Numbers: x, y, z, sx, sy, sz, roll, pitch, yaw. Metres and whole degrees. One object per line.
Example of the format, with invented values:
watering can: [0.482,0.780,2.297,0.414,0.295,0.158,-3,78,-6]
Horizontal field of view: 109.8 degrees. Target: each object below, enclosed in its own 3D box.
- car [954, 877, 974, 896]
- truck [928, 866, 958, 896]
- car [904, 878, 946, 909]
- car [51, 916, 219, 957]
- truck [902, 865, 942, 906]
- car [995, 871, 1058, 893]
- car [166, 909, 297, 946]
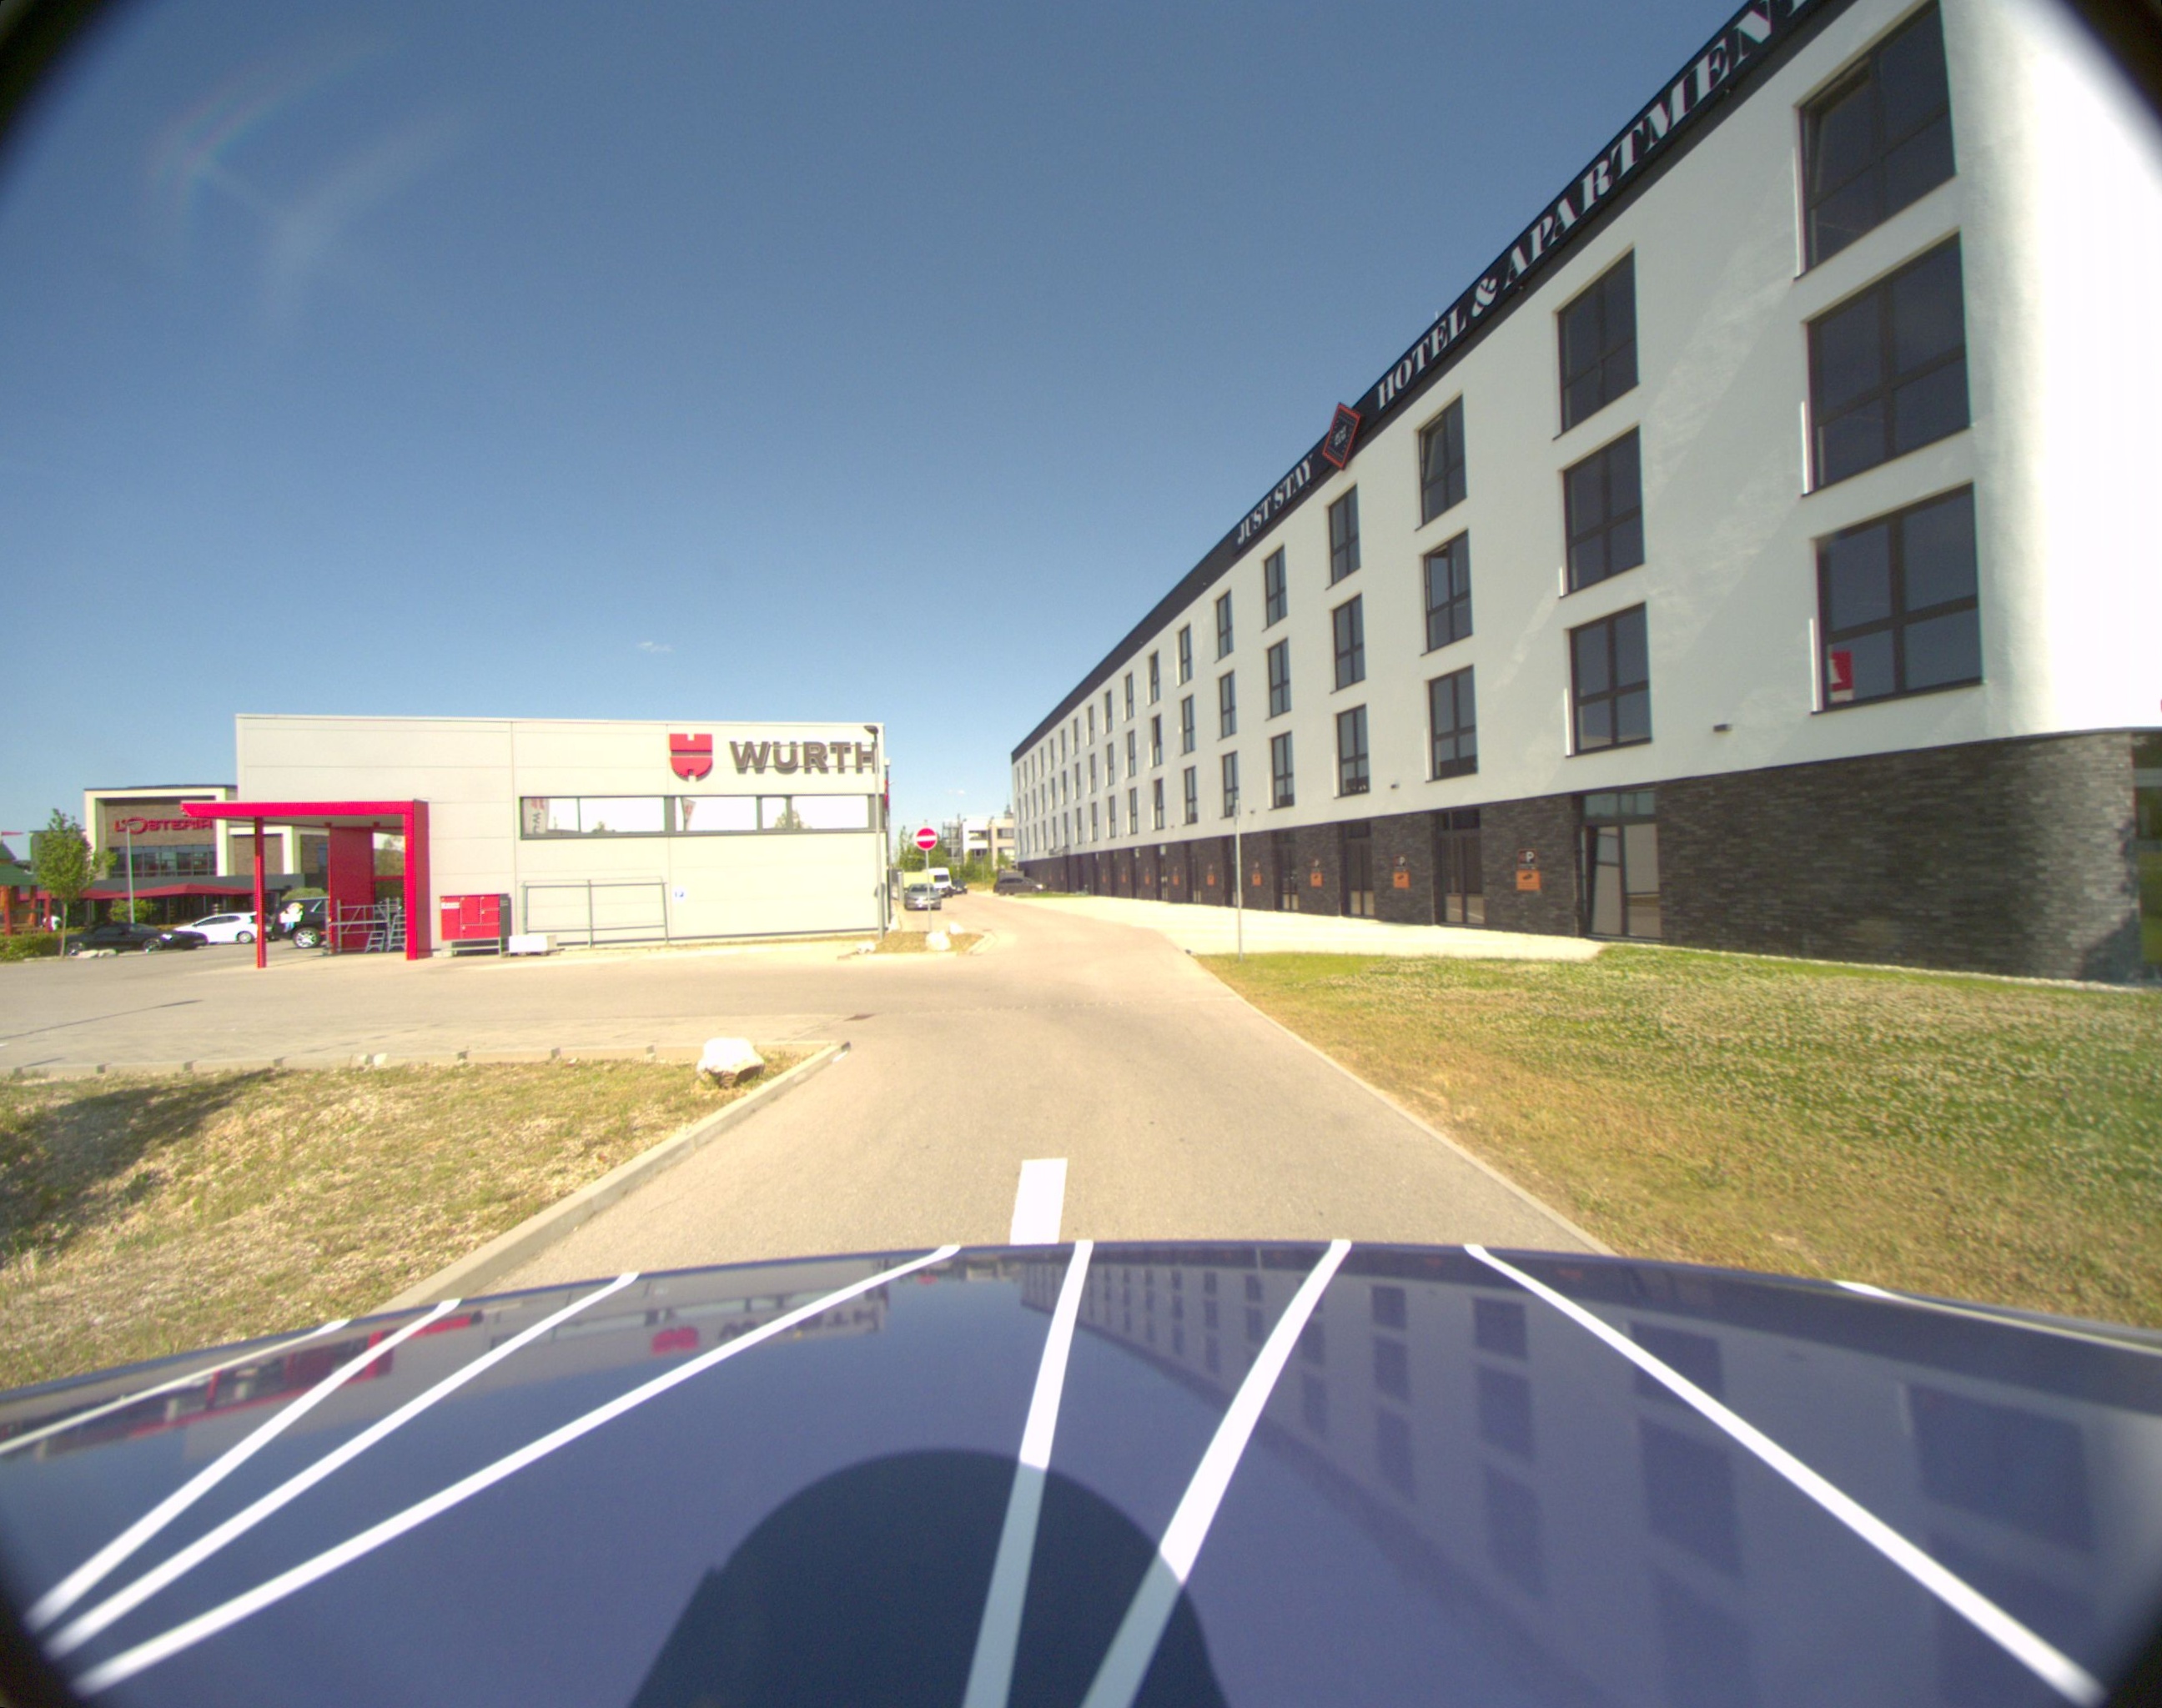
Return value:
car: [-10.982,3.028,71.519,1.719,1.608,3.997,-3,0,-9]
truck: [-11.641,2.240,64.028,2.001,2.362,5.884,-2,-1,-14]
car: [-8.596,2.142,41.688,1.880,1.499,3.995,-2,-1,-16]
car: [-40.099,3.466,32.331,4.156,1.329,1.829,-2,-1,-15]
truck: [-10.136,1.933,48.180,2.125,2.362,5.884,-2,-1,-14]
car: [-4.266,2.181,59.573,4.515,1.499,1.882,-3,-1,22]
car: [-41.303,3.563,37.036,3.914,1.465,1.802,-2,-1,-10]
